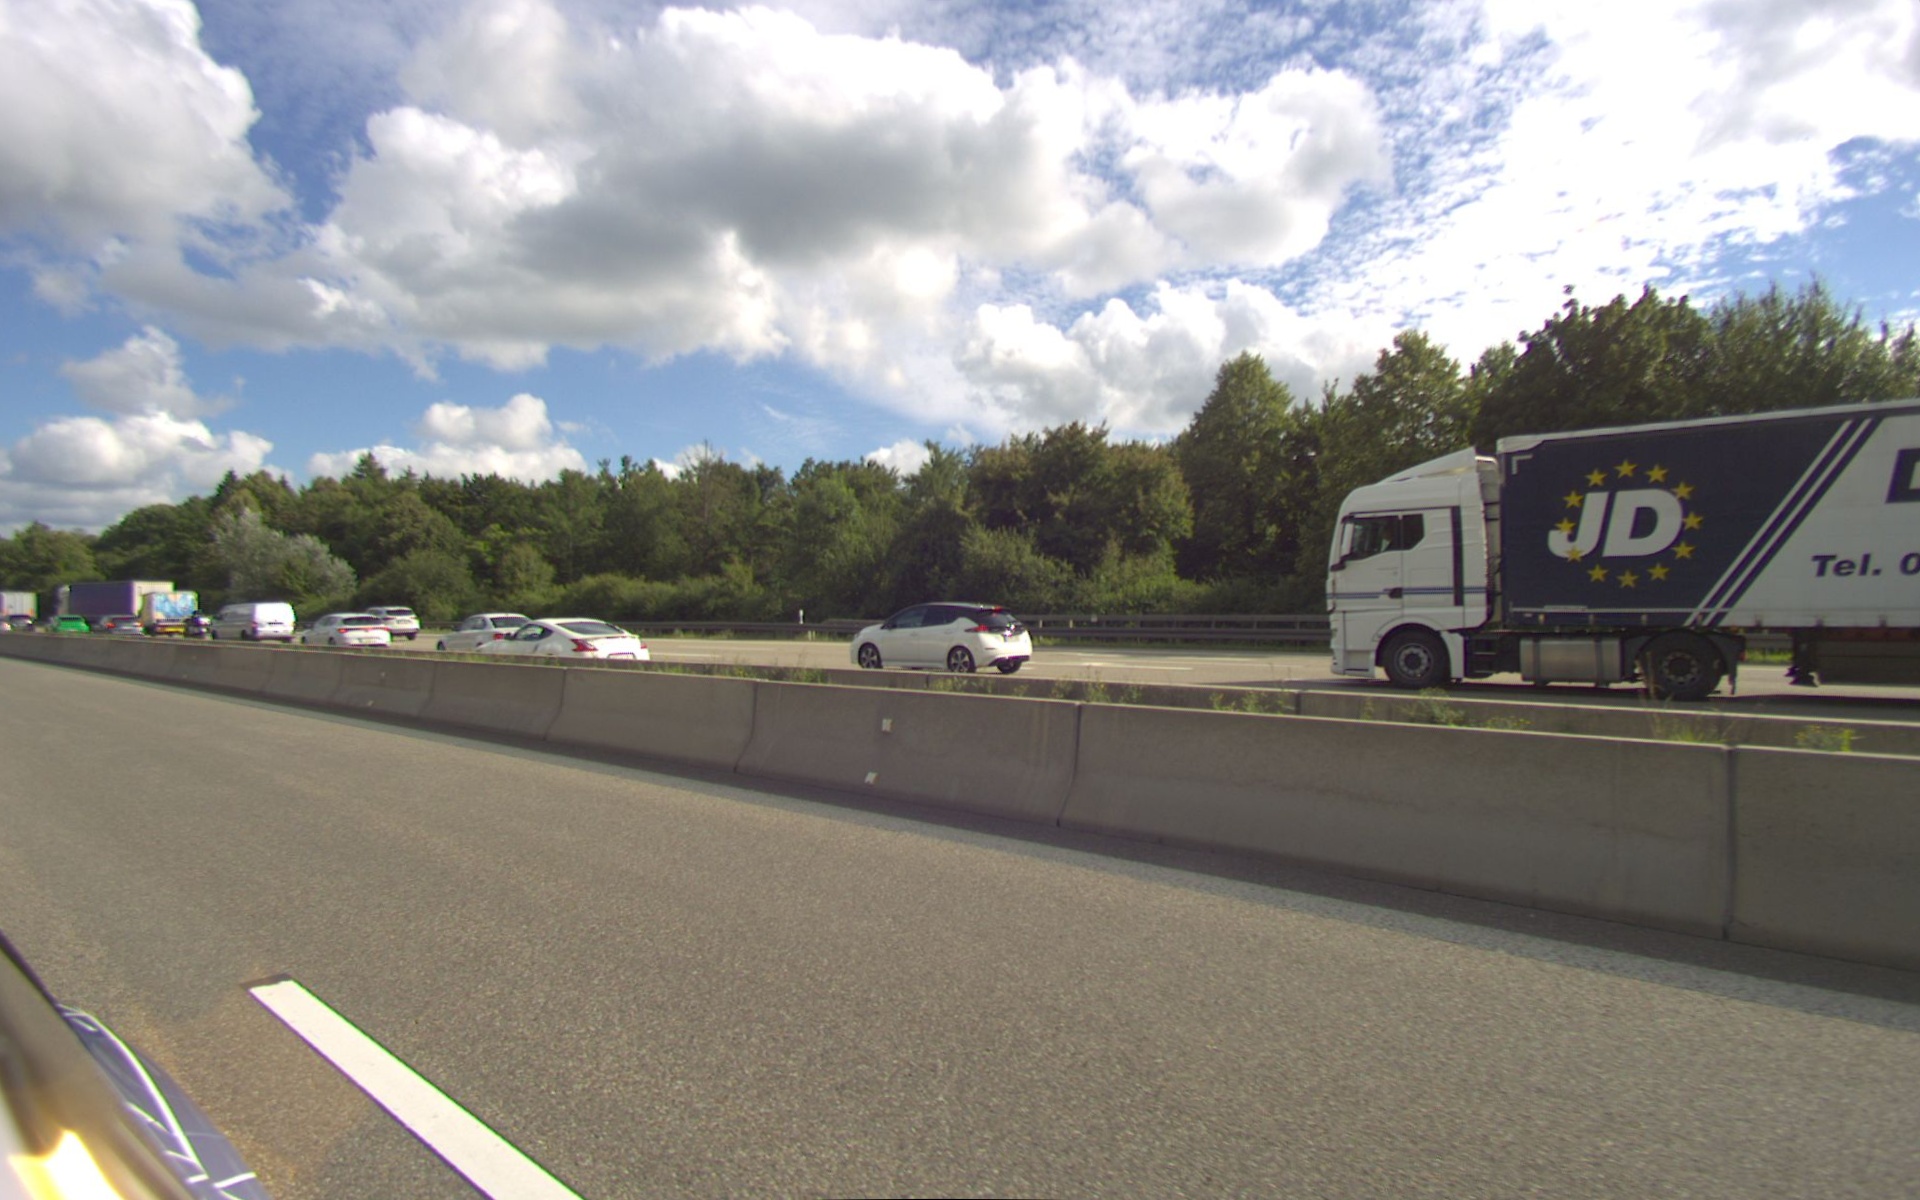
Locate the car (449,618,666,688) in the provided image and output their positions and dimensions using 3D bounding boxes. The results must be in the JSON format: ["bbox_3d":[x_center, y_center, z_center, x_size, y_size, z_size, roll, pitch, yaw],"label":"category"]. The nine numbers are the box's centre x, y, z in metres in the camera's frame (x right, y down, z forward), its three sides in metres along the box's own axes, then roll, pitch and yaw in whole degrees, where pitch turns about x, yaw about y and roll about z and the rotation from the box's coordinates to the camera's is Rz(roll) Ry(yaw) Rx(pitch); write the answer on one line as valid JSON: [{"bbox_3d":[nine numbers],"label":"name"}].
[{"bbox_3d":[-7.763,0.949,19.327,4.507,1.170,1.794,-1,-1,37],"label":"car"}]

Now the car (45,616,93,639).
[{"bbox_3d":[-59.208,1.845,67.214,4.327,1.482,1.765,-1,-2,40],"label":"car"}]

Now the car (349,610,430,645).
[{"bbox_3d":[-29.803,1.412,52.815,4.783,1.696,2.149,-1,0,41],"label":"car"}]

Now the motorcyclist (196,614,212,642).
[{"bbox_3d":[-41.692,1.527,55.782,0.532,1.487,0.596,-1,0,41],"label":"motorcyclist"}]

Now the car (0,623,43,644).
[{"bbox_3d":[-73.468,2.623,79.153,4.907,1.608,1.826,-1,-2,38],"label":"car"}]

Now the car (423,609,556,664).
[{"bbox_3d":[-13.360,0.989,28.610,4.713,1.407,1.664,-1,0,42],"label":"car"}]

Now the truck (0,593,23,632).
[{"bbox_3d":[-98.152,1.328,103.148,6.757,3.887,2.938,-1,-1,39],"label":"truck"}]

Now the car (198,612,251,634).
[{"bbox_3d":[-51.771,1.640,71.237,4.400,1.482,2.033,-1,-1,40],"label":"car"}]

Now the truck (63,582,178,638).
[{"bbox_3d":[-66.361,0.855,79.868,13.797,4.125,2.798,-1,-1,32],"label":"truck"}]

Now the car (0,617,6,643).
[{"bbox_3d":[-62.180,1.918,64.353,4.660,1.564,1.843,-1,0,42],"label":"car"}]

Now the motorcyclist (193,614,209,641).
[{"bbox_3d":[-42.147,1.530,56.187,0.532,1.487,0.596,-1,0,41],"label":"motorcyclist"}]

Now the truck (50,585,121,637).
[{"bbox_3d":[-72.079,0.904,83.408,6.041,4.125,2.798,-1,-1,32],"label":"truck"}]

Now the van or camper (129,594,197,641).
[{"bbox_3d":[-52.204,1.163,66.225,6.504,2.914,2.348,-1,-2,42],"label":"van or camper"}]

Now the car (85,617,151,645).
[{"bbox_3d":[-48.317,1.773,58.036,4.783,1.482,2.149,-1,0,41],"label":"car"}]

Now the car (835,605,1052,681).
[{"bbox_3d":[-0.459,0.885,21.997,4.799,1.464,1.792,-1,-1,42],"label":"car"}]

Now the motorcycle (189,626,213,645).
[{"bbox_3d":[-42.145,1.951,56.179,2.174,1.048,0.603,-1,-1,41],"label":"motorcycle"}]

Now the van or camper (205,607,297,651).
[{"bbox_3d":[-33.420,1.339,47.628,5.448,1.952,1.975,-1,-1,37],"label":"van or camper"}]

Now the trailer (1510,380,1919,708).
[{"bbox_3d":[15.073,-0.750,12.539,14.135,4.137,3.286,-1,0,38],"label":"trailer"}]

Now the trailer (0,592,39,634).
[{"bbox_3d":[-93.788,1.293,99.612,11.268,3.887,2.938,-1,-1,39],"label":"trailer"}]

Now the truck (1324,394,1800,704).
[{"bbox_3d":[9.714,-0.648,16.735,6.216,4.137,3.286,-1,-1,38],"label":"truck"}]

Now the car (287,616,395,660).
[{"bbox_3d":[-21.709,1.307,35.419,4.685,1.405,1.752,-1,0,39],"label":"car"}]
